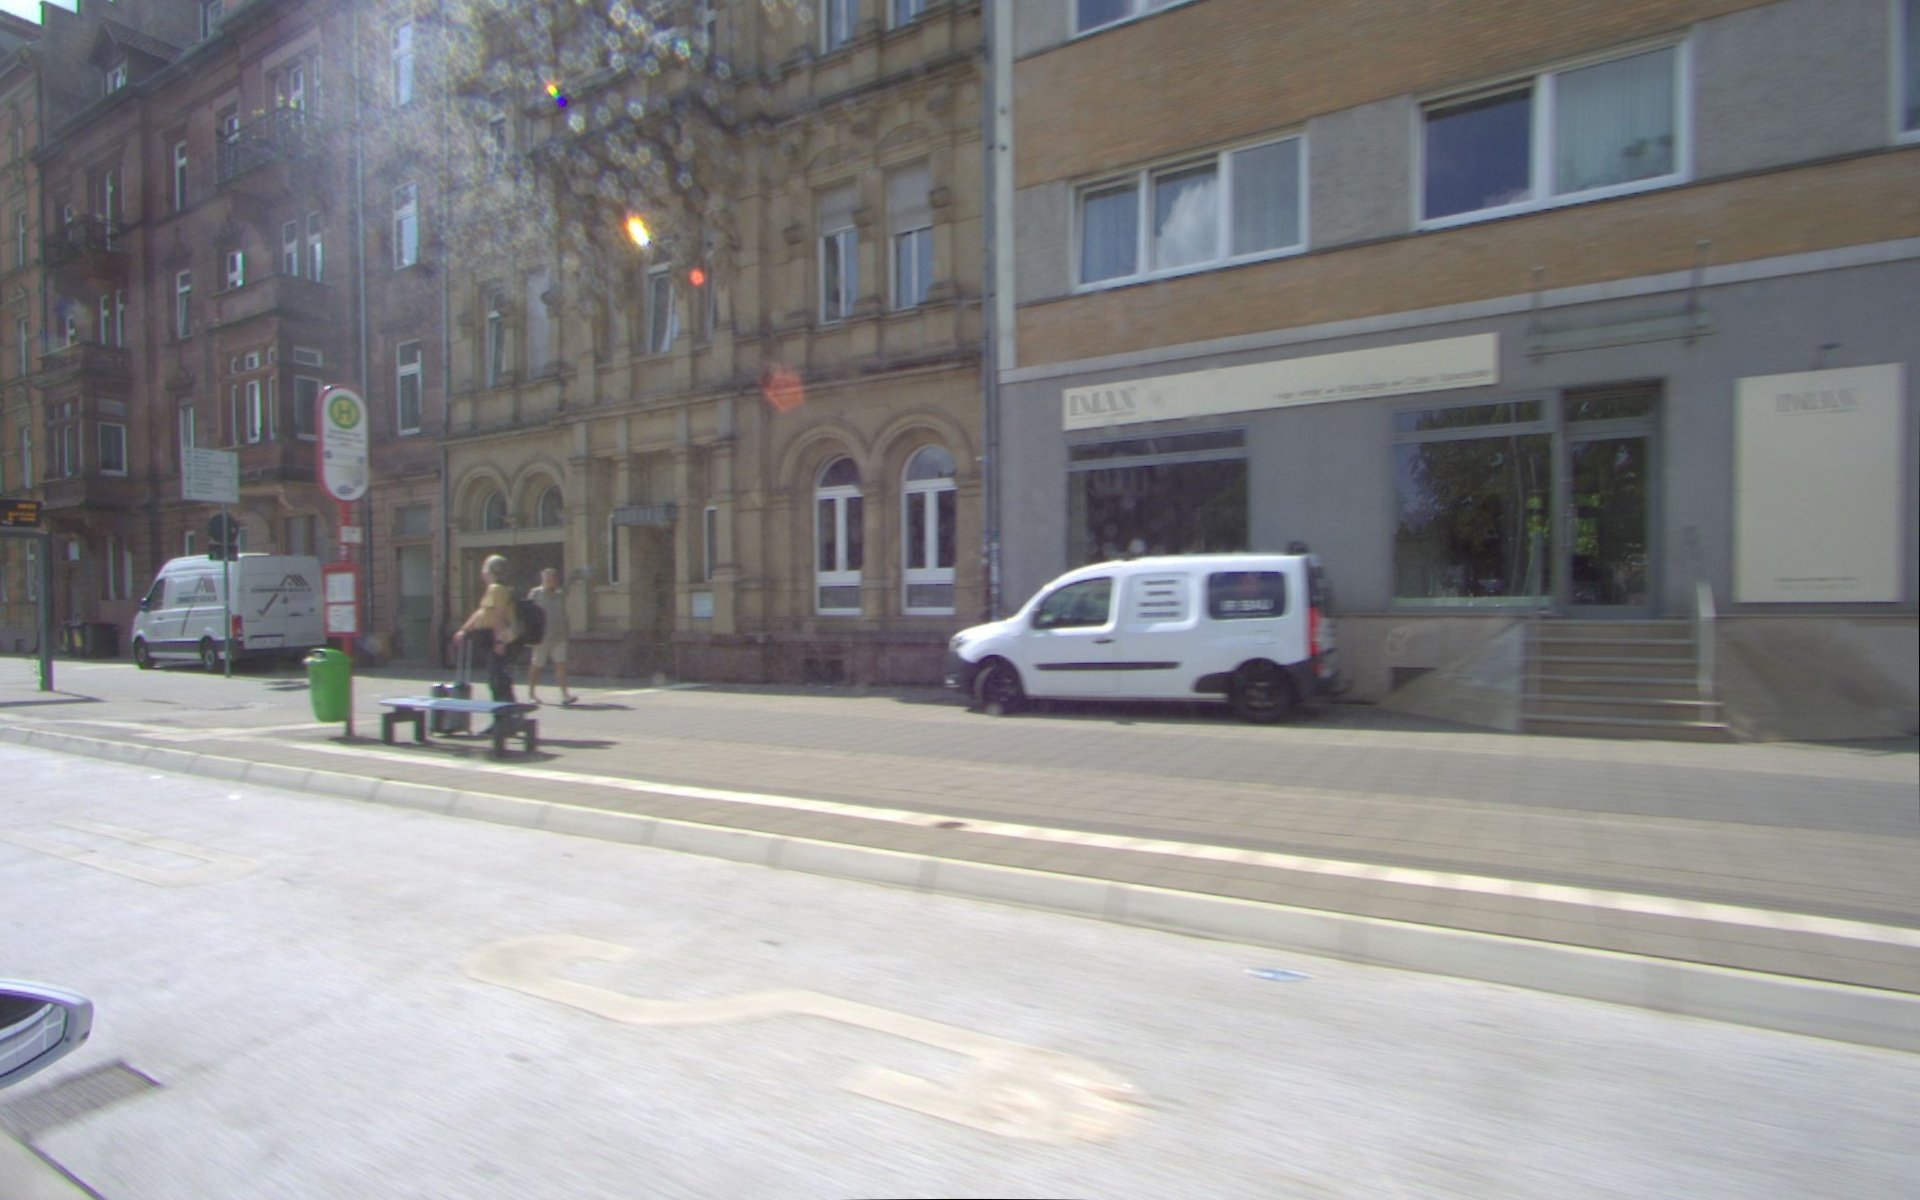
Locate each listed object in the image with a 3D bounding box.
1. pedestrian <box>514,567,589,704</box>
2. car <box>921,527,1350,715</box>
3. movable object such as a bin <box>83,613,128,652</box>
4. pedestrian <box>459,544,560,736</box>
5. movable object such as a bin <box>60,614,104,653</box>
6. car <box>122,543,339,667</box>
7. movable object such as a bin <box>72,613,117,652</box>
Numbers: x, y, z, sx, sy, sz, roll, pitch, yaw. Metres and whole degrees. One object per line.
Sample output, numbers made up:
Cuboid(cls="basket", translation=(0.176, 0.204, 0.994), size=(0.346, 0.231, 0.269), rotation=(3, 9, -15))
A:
Cuboid(cls="pedestrian", translation=(-5.734, 0.485, 14.076), size=(0.683, 1.861, 0.662), rotation=(0, 1, 25))
Cuboid(cls="car", translation=(2.071, 0.253, 11.954), size=(4.676, 1.886, 1.993), rotation=(-1, 0, 26))
Cuboid(cls="movable object such as a bin", translation=(-24.977, 0.935, 29.275), size=(0.765, 1.122, 0.784), rotation=(0, 1, 29))
Cuboid(cls="pedestrian", translation=(-4.682, 0.408, 10.437), size=(0.681, 1.928, 0.664), rotation=(0, 1, 13))
Cuboid(cls="movable object such as a bin", translation=(-26.380, 0.993, 30.097), size=(0.765, 1.122, 0.784), rotation=(0, 1, 29))
Cuboid(cls="car", translation=(-16.896, 0.112, 23.082), size=(5.802, 2.559, 1.990), rotation=(0, 0, 32))
Cuboid(cls="movable object such as a bin", translation=(-25.620, 0.951, 29.651), size=(0.765, 1.122, 0.784), rotation=(0, 1, 29))
